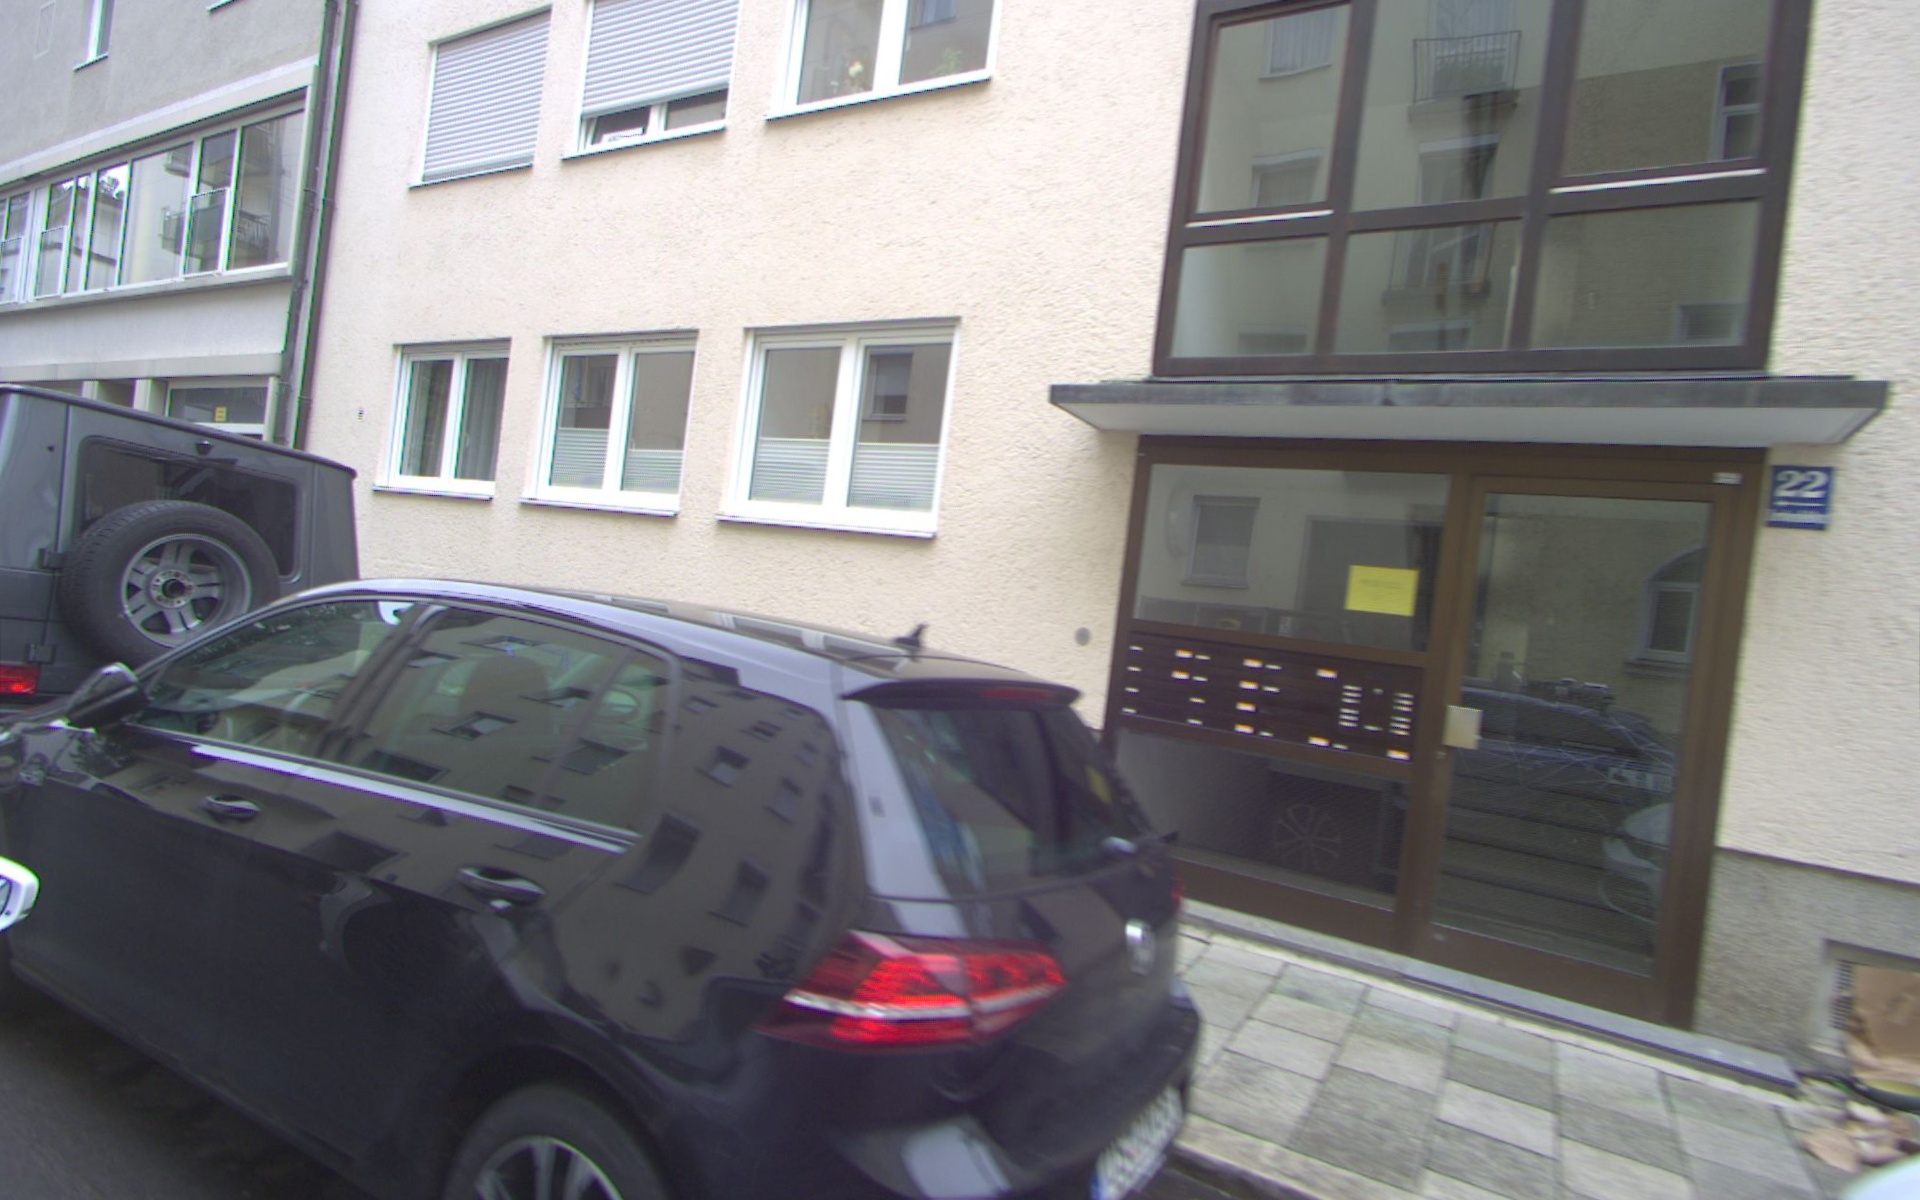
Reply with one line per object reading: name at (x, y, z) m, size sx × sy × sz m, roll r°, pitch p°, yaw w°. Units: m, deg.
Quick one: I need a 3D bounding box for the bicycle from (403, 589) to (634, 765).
bicycle at (-3.335, 0.521, 7.544) m, size 1.767 × 1.043 × 0.644 m, roll 6°, pitch 4°, yaw 31°

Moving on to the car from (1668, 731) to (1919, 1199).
car at (2.956, 1.148, 0.390) m, size 4.171 × 1.503 × 1.716 m, roll 6°, pitch -2°, yaw 29°

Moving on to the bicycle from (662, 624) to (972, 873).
bicycle at (-0.878, 0.794, 5.958) m, size 1.731 × 1.121 × 0.654 m, roll 6°, pitch 4°, yaw 31°

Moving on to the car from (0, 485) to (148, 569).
car at (-20.157, -1.679, 21.197) m, size 1.965 × 1.417 × 4.212 m, roll 9°, pitch 1°, yaw 28°

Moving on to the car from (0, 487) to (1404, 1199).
car at (-1.157, 0.645, 2.856) m, size 4.171 × 1.503 × 1.716 m, roll 6°, pitch -2°, yaw 29°

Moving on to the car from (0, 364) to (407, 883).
car at (-5.261, -0.056, 5.464) m, size 4.268 × 1.997 × 1.756 m, roll 7°, pitch -2°, yaw 29°
